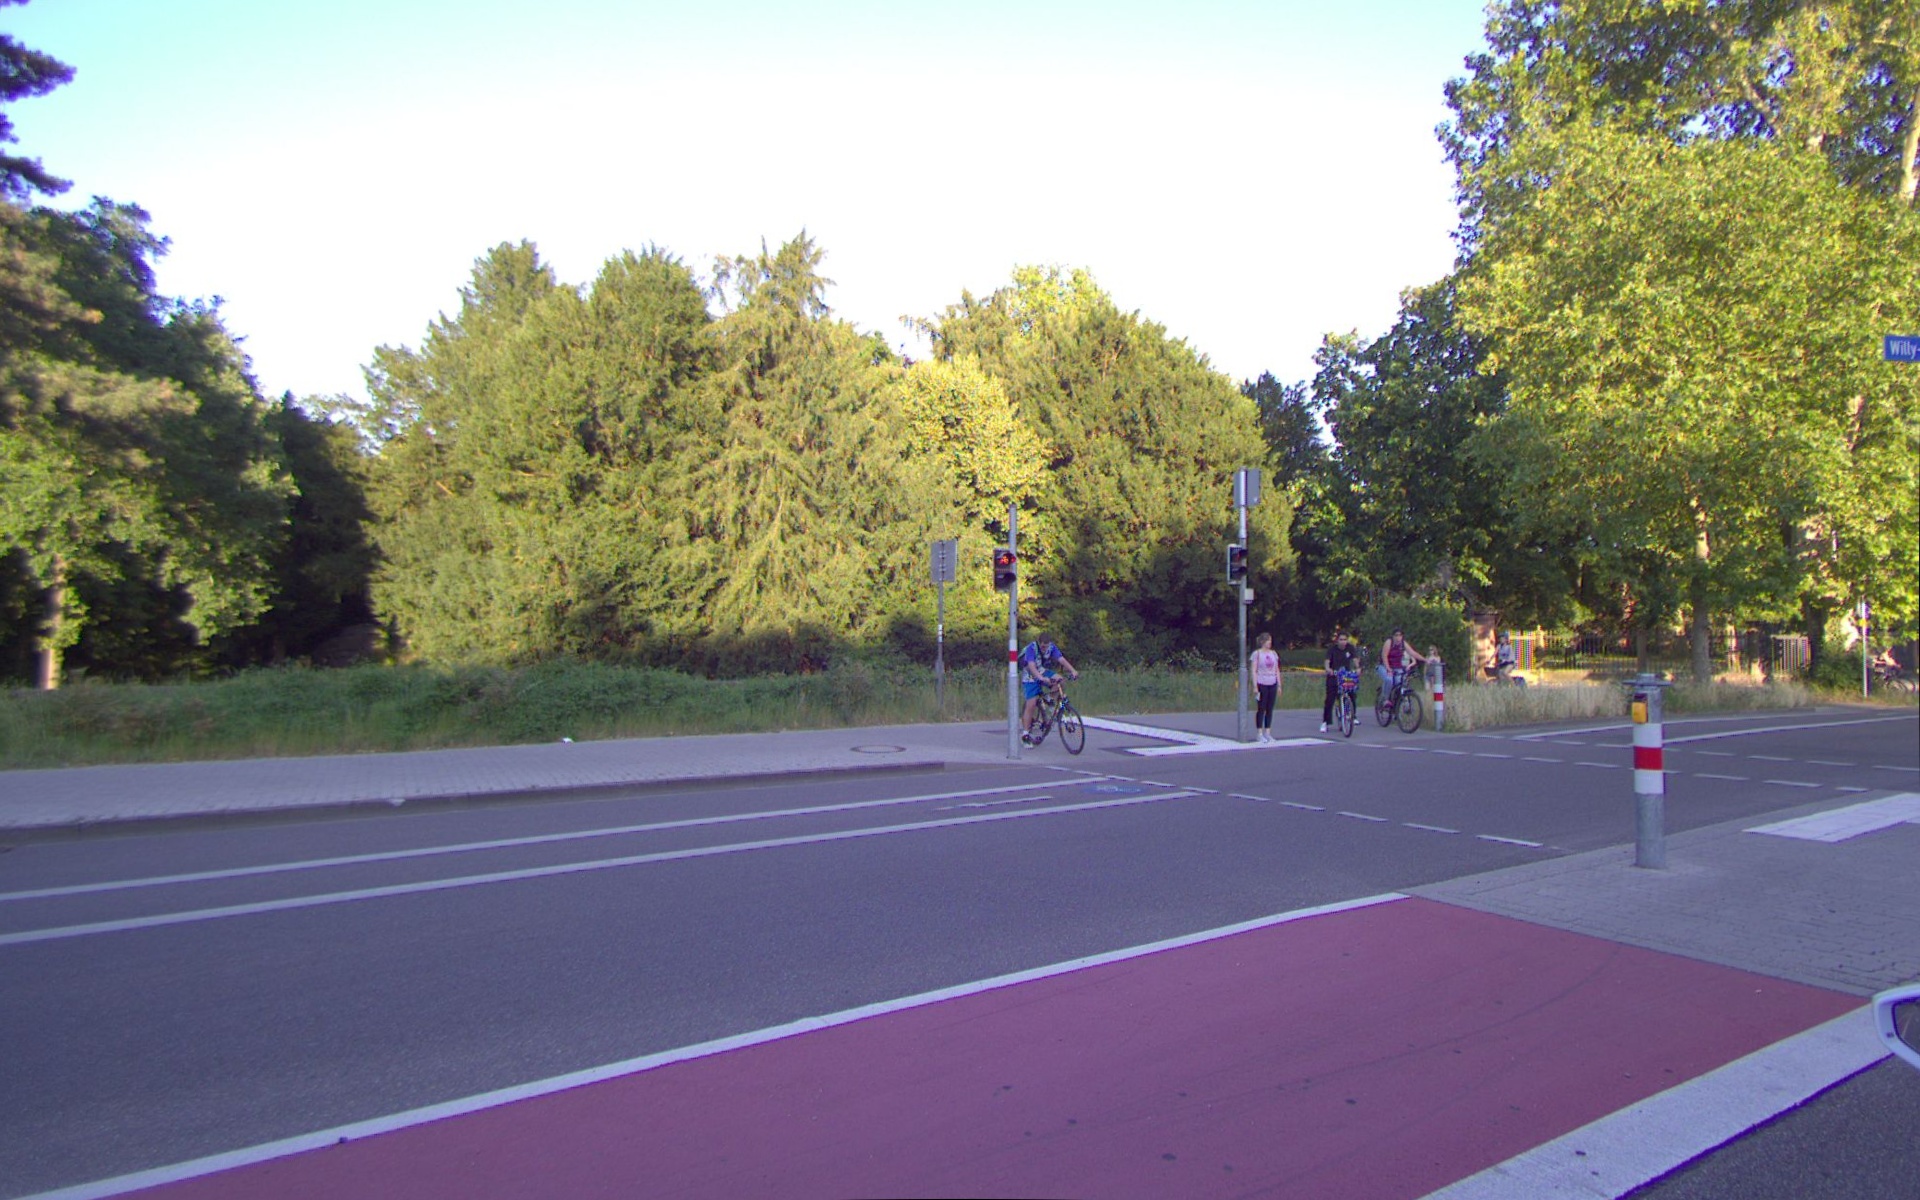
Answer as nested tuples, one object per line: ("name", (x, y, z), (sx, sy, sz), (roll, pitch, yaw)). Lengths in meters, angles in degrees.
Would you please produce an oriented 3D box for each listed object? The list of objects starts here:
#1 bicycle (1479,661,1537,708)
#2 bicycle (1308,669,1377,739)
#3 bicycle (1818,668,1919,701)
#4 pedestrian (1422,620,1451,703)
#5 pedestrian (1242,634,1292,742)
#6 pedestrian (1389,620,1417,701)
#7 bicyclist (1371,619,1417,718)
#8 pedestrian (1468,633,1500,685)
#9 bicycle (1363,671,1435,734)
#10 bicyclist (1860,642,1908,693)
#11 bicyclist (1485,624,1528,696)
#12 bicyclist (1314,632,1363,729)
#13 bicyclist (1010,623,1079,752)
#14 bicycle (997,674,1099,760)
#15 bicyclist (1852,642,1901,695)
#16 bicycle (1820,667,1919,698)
("bicycle", (13.764, 2.092, 25.203), (0.731, 1.046, 2.284), (0, -2, 43))
("bicycle", (6.628, 1.782, 17.483), (0.620, 1.126, 1.569), (0, -2, 1))
("bicycle", (29.205, 2.677, 32.232), (0.765, 0.936, 2.420), (1, -2, -29))
("pedestrian", (12.010, 1.536, 25.341), (0.584, 2.040, 0.642), (0, -1, 20))
("pedestrian", (4.996, 1.411, 16.372), (0.492, 1.718, 0.604), (1, -2, -28))
("pedestrian", (11.390, 1.533, 25.837), (0.638, 2.040, 0.606), (0, -1, 22))
("bicyclist", (8.033, 1.264, 18.613), (0.564, 1.803, 0.640), (0, -2, 1))
("pedestrian", (20.865, 2.326, 40.013), (1.067, 2.040, 0.755), (2, -1, -36))
("bicycle", (8.019, 1.851, 18.420), (0.568, 1.043, 1.772), (0, -2, 1))
("bicyclist", (30.643, 2.227, 33.314), (0.743, 1.652, 0.954), (1, -2, -29))
("bicyclist", (13.680, 1.493, 25.148), (0.746, 1.751, 0.939), (0, -1, 42))
("bicyclist", (6.631, 1.396, 17.623), (0.618, 1.671, 0.640), (0, -2, 1))
("bicyclist", (1.256, 1.278, 14.934), (0.730, 1.848, 0.705), (2, -2, -34))
("bicycle", (1.274, 1.699, 15.033), (0.760, 1.115, 2.114), (1, -2, -18))
("bicyclist", (29.284, 2.177, 32.094), (0.743, 1.652, 0.954), (1, -2, -29))
("bicycle", (30.454, 2.734, 33.603), (0.765, 0.936, 2.420), (1, -2, -29))
